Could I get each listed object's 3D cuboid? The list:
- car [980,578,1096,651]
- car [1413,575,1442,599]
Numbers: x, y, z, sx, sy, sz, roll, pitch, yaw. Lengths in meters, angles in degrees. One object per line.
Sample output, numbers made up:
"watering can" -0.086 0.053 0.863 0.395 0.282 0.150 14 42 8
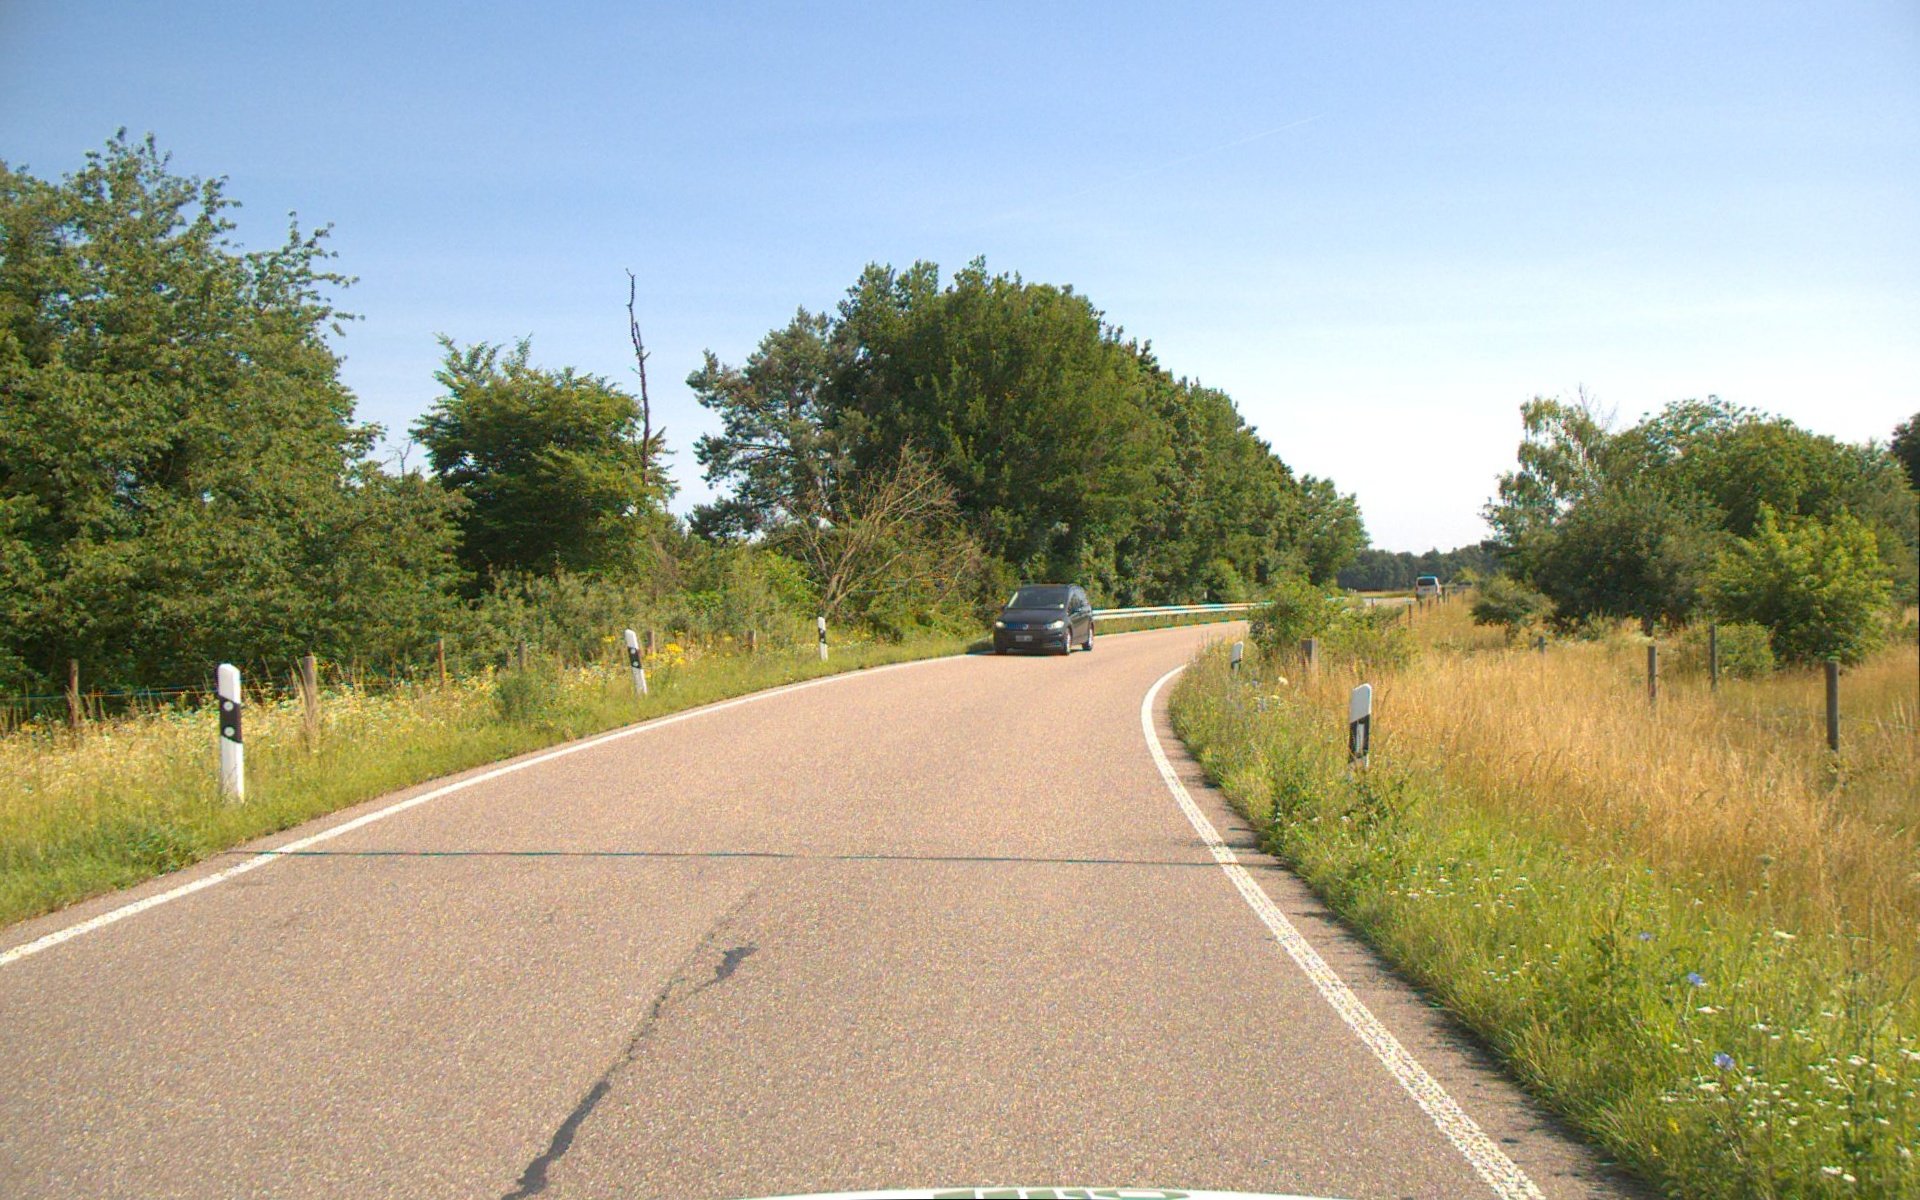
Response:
"car" 1.959 0.363 40.115 1.746 1.660 4.162 0 -1 18
"car" 38.053 -1.042 134.617 1.921 1.834 4.161 0 -1 20
